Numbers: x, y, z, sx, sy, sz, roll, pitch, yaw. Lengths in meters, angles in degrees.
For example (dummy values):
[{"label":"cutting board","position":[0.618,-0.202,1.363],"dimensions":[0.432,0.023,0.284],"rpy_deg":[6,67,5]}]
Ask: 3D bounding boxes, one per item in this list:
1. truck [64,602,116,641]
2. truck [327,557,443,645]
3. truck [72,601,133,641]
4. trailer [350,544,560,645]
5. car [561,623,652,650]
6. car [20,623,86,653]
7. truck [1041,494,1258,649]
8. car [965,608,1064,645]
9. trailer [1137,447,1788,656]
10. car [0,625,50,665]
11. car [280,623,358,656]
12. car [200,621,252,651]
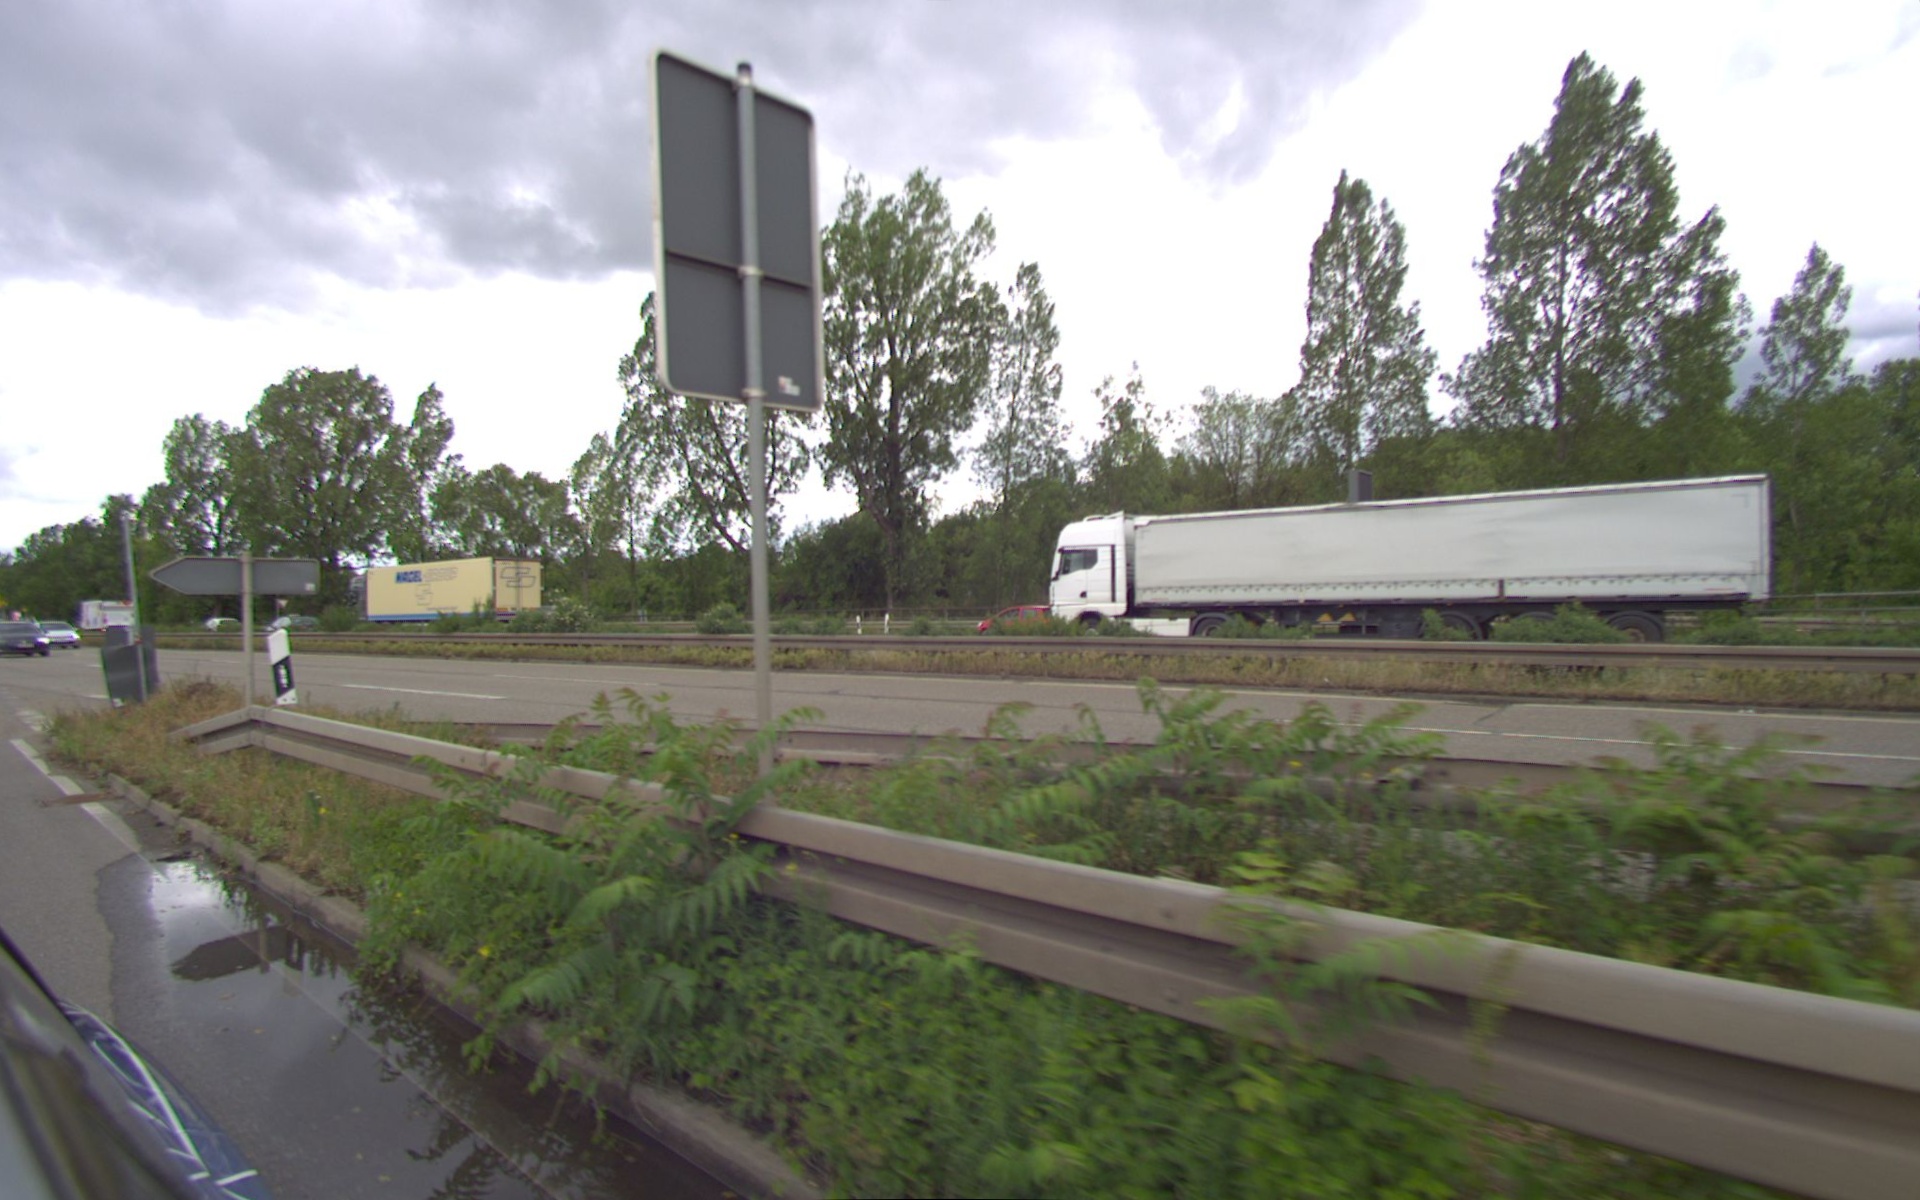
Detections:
[{"label":"truck","position":[-88.666,2.211,103.174],"dimensions":[3.989,3.670,2.960],"rpy_deg":[-2,1,34]},{"label":"truck","position":[-32.659,0.067,57.423],"dimensions":[6.199,4.708,3.433],"rpy_deg":[-2,0,36]},{"label":"truck","position":[-85.793,2.101,101.236],"dimensions":[6.320,3.670,2.959],"rpy_deg":[-2,1,34]},{"label":"trailer","position":[-26.774,-0.111,53.057],"dimensions":[14.754,4.708,3.432],"rpy_deg":[-2,0,37]},{"label":"car","position":[-13.712,1.387,39.207],"dimensions":[3.611,0.938,1.636],"rpy_deg":[-1,1,38]},{"label":"car","position":[-47.989,2.007,53.529],"dimensions":[3.992,1.511,1.837],"rpy_deg":[-2,-1,36]},{"label":"truck","position":[5.299,-0.729,28.558],"dimensions":[5.301,3.966,2.765],"rpy_deg":[-1,1,36]},{"label":"car","position":[2.161,1.070,40.332],"dimensions":[3.608,1.371,1.637],"rpy_deg":[-2,-1,35]},{"label":"trailer","position":[11.073,-0.851,24.375],"dimensions":[13.484,3.978,2.766],"rpy_deg":[-1,1,36]},{"label":"car","position":[-38.151,1.804,40.711],"dimensions":[4.303,1.512,1.914],"rpy_deg":[-3,-2,43]},{"label":"car","position":[-29.972,1.841,47.279],"dimensions":[3.997,1.465,1.973],"rpy_deg":[-2,-1,40]},{"label":"car","position":[-46.688,2.274,64.343],"dimensions":[3.566,1.821,1.763],"rpy_deg":[-2,-1,37]}]
